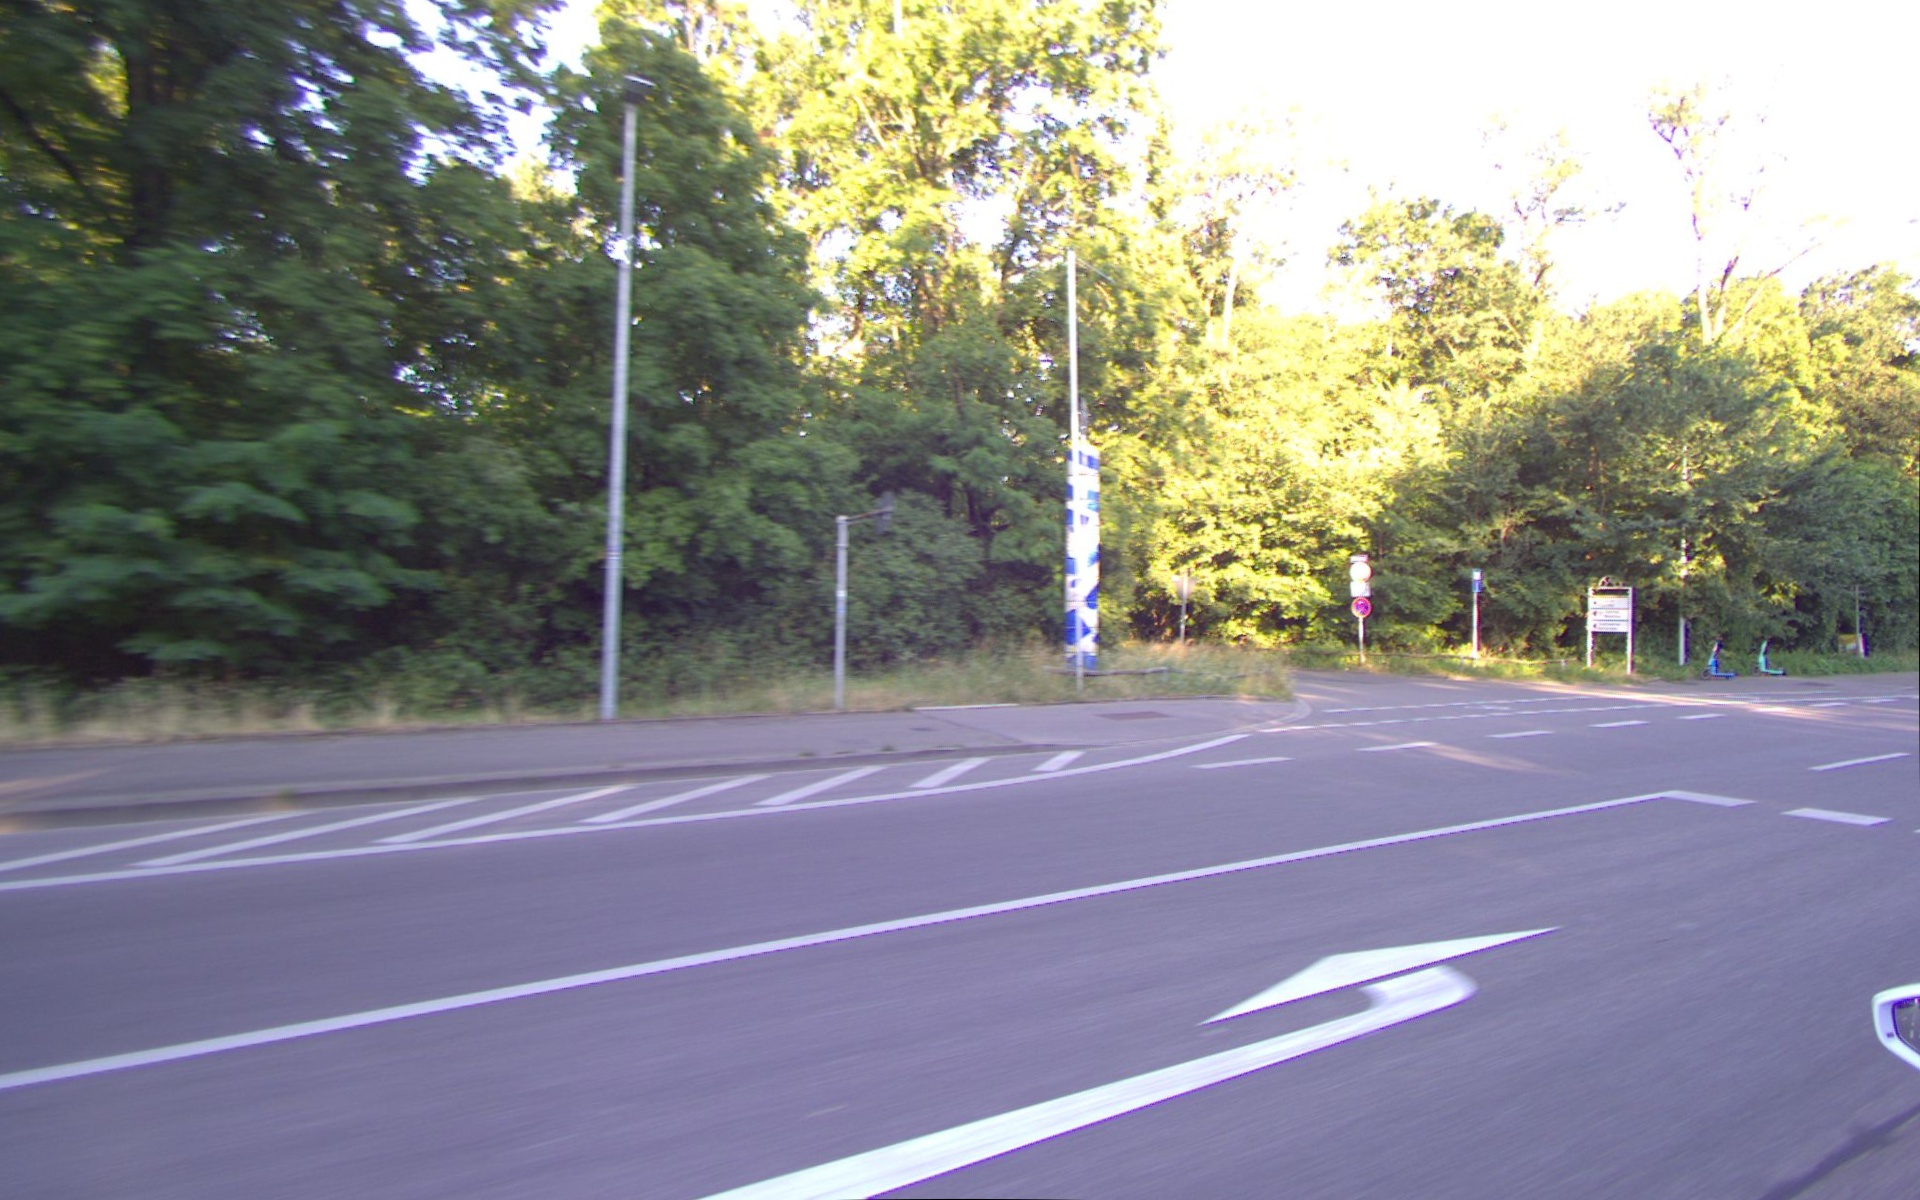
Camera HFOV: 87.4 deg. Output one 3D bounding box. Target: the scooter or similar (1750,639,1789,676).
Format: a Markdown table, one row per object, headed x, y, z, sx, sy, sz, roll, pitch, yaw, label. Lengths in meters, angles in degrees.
| x | y | z | sx | sy | sz | roll | pitch | yaw | label |
| --- | --- | --- | --- | --- | --- | --- | --- | --- | --- |
| 24.611 | 1.742 | 30.540 | 0.885 | 1.082 | 0.494 | 0 | -1 | 35 | scooter or similar |

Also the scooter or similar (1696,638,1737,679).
| x | y | z | sx | sy | sz | roll | pitch | yaw | label |
| --- | --- | --- | --- | --- | --- | --- | --- | --- | --- |
| 21.643 | 1.675 | 28.737 | 0.862 | 1.124 | 0.362 | 1 | -1 | 12 | scooter or similar |
